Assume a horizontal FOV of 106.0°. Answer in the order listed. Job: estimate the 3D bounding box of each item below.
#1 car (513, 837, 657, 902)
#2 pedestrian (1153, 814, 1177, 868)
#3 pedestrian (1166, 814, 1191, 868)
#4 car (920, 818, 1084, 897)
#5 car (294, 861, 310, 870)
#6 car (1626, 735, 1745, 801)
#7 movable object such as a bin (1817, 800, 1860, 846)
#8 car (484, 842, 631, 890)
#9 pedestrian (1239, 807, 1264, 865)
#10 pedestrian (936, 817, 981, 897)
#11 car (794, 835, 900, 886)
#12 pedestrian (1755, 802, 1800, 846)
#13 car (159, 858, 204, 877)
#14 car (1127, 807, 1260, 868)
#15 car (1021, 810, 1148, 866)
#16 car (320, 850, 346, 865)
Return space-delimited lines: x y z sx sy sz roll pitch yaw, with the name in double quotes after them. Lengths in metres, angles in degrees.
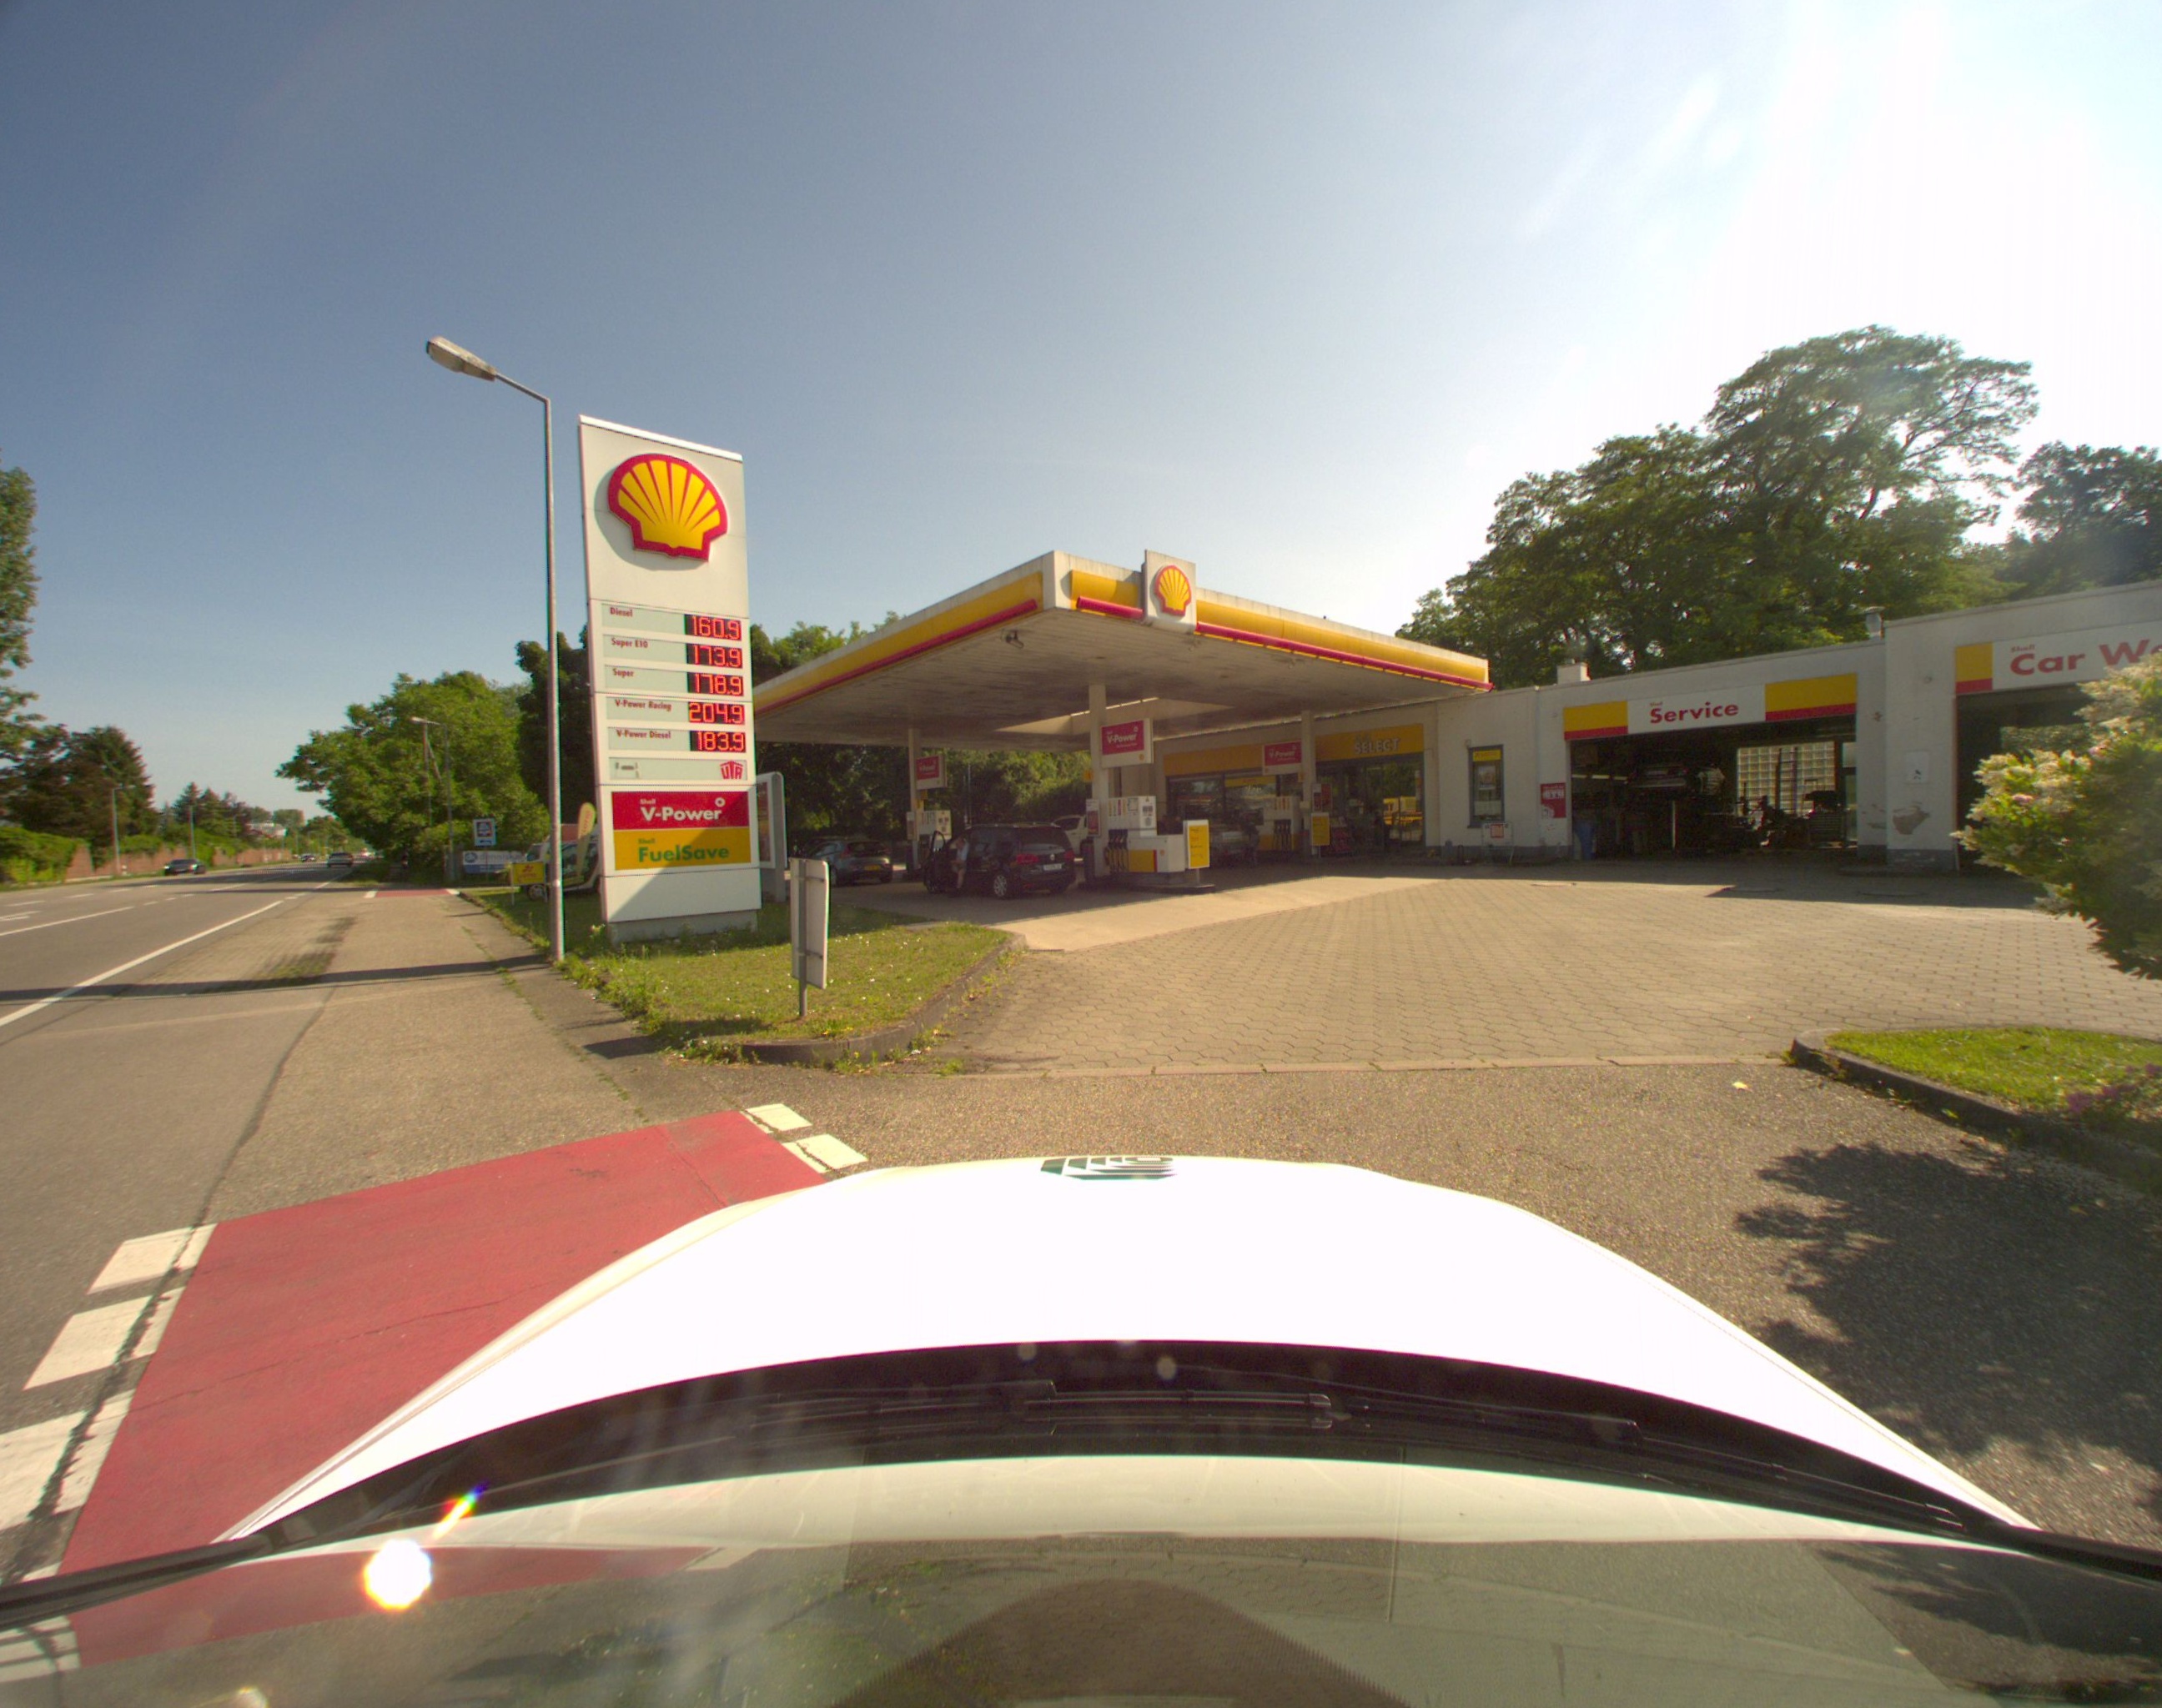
-12.744 0.378 21.019 2.710 1.530 1.580 -2 0 4 "car"
2.600 -0.406 25.146 0.503 1.631 0.470 -3 2 -37 "pedestrian"
2.924 -0.400 24.415 0.503 1.593 0.470 -3 2 -37 "pedestrian"
-1.897 0.046 18.703 1.775 1.578 3.831 -4 2 -42 "car"
-145.794 2.098 152.365 1.862 1.541 4.175 -1 0 -40 "car"
16.695 -2.293 22.433 4.020 1.486 1.633 -1 0 -39 "car"
20.648 -0.834 22.201 0.547 1.236 0.790 -1 0 -38 "movable object such as a bin"
-18.044 0.364 28.198 1.566 1.530 4.024 -1 0 43 "car"
4.997 -0.517 23.878 0.478 1.668 0.495 -3 2 -39 "pedestrian"
-2.748 0.048 18.231 0.677 1.729 0.804 -3 2 -33 "pedestrian"
-7.217 0.168 24.850 1.812 1.360 3.805 -4 2 -37 "car"
19.585 -0.835 22.890 0.747 1.198 0.855 -1 0 -41 "pedestrian"
-77.793 1.141 70.501 1.863 1.495 4.854 -6 3 -40 "car"
3.434 -0.499 25.499 1.842 1.727 3.956 -4 2 -36 "car"
0.039 -0.580 29.615 1.868 1.837 4.723 -4 2 -42 "car"
-80.815 0.420 88.014 1.862 1.541 4.175 -1 0 -40 "car"
